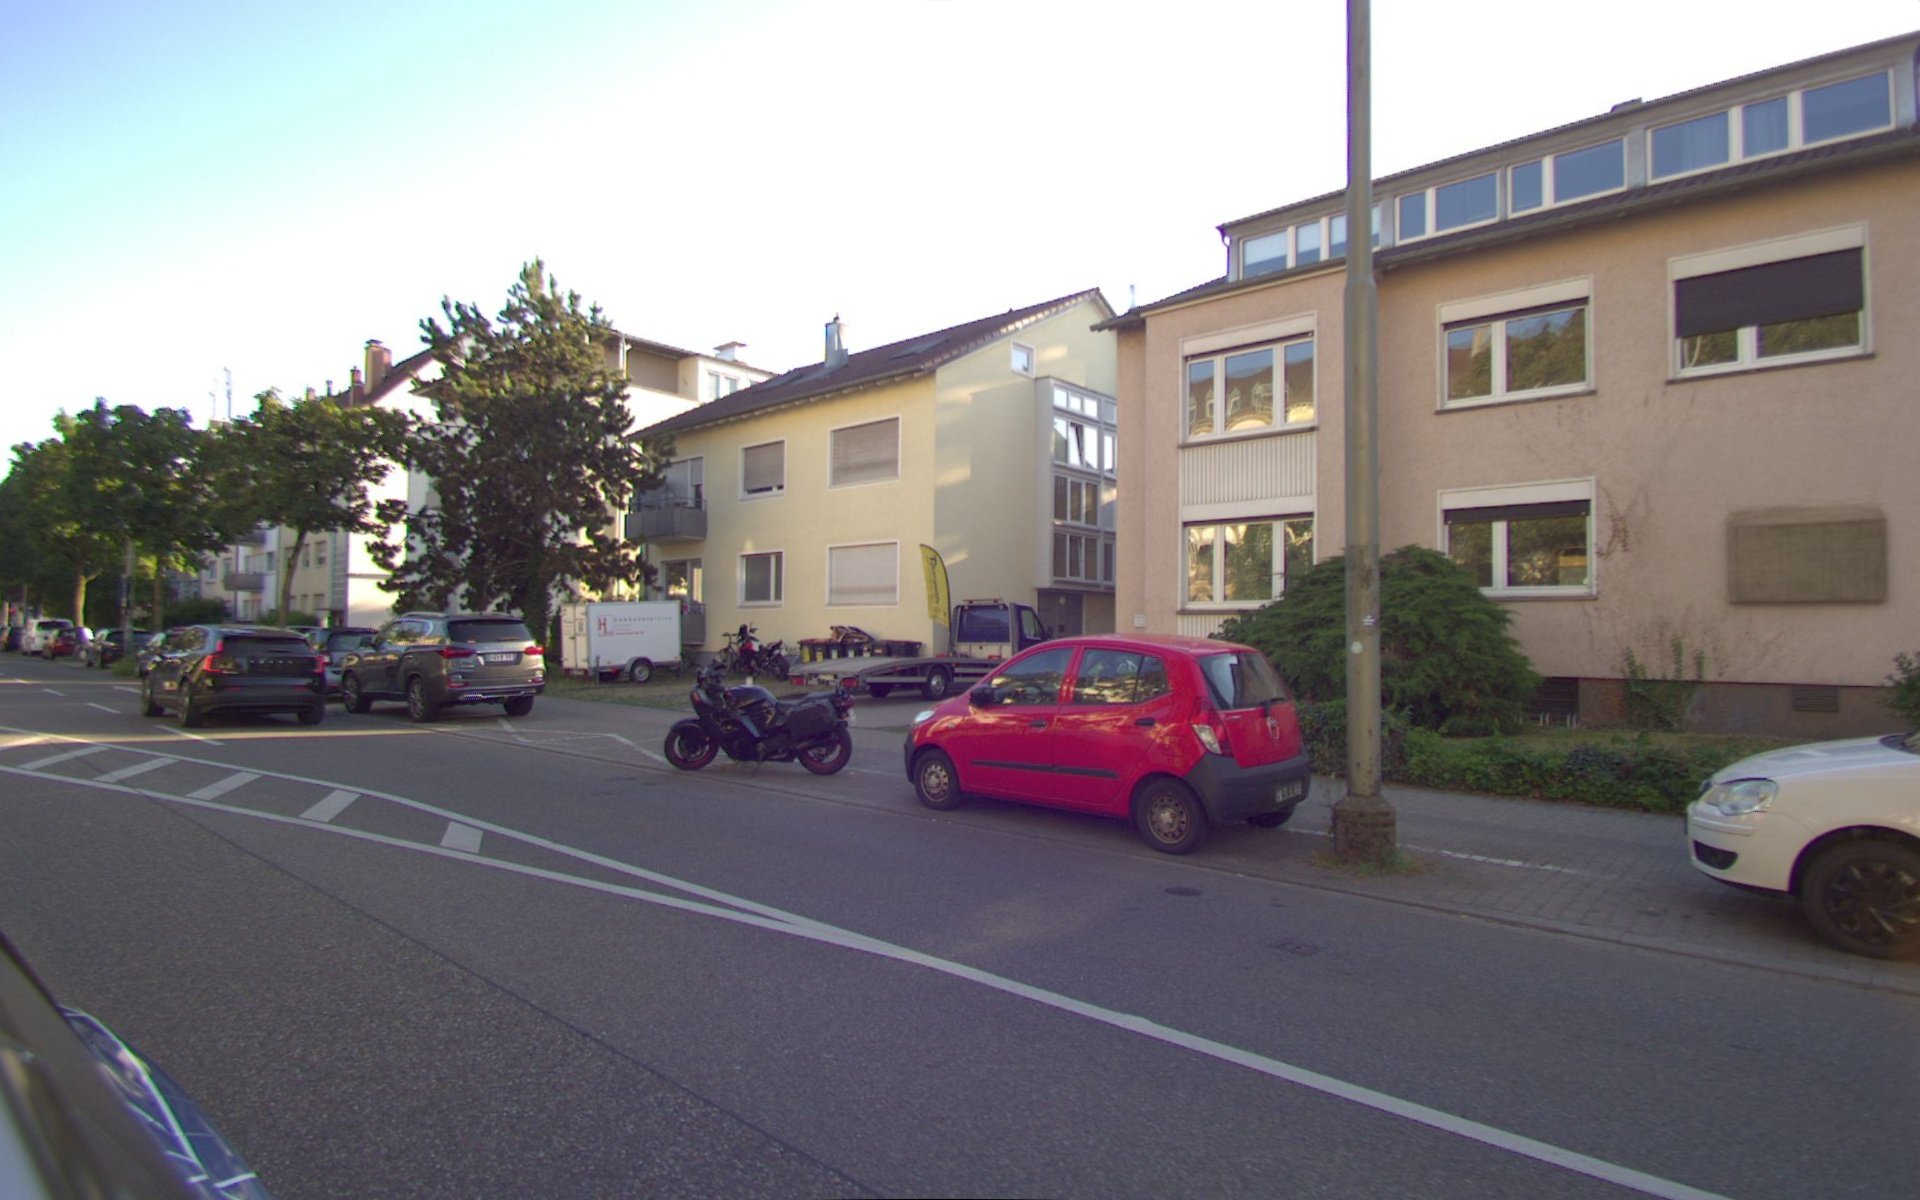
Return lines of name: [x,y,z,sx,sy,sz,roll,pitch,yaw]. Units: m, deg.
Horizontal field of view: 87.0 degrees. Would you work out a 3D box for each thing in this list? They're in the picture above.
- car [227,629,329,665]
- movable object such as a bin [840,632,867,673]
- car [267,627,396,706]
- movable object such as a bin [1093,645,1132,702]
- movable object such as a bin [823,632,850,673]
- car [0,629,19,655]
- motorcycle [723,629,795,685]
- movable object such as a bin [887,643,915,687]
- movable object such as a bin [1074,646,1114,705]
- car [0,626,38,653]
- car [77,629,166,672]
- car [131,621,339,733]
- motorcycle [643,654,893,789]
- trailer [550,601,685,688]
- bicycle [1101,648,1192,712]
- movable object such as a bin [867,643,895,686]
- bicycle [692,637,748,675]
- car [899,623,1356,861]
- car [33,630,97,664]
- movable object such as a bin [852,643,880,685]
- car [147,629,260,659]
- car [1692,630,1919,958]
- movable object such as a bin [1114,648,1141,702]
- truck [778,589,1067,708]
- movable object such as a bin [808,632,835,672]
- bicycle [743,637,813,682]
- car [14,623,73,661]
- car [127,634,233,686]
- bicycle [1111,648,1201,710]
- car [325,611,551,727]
car: [-30.048,2.051,44.643,1.686,1.535,3.421,-2,-3,42]
movable object such as a bin: [-2.671,1.316,25.406,0.450,1.026,0.497,-2,-3,41]
car: [-13.484,1.379,21.688,2.747,1.567,1.557,-1,-3,40]
movable object such as a bin: [3.013,1.443,19.975,0.586,1.099,0.483,-2,-3,42]
movable object such as a bin: [-3.122,1.326,25.690,0.450,1.026,0.497,-2,-3,41]
car: [-57.280,2.489,60.391,3.682,1.475,1.388,-1,-1,43]
motorcycle: [-5.244,1.462,26.346,2.257,1.384,0.564,-1,-3,41]
movable object such as a bin: [-1.417,1.557,24.220,0.450,1.026,0.497,-2,-3,41]
movable object such as a bin: [2.584,1.438,19.502,0.586,1.099,0.483,-2,-3,42]
car: [-53.675,2.236,57.657,3.682,1.416,1.388,-1,-1,43]
car: [-30.979,1.841,37.357,3.997,1.497,1.838,-2,-3,41]
car: [-11.840,1.191,16.443,3.998,1.582,1.816,-1,-4,41]
motorcycle: [-2.024,1.237,10.827,2.350,1.276,1.176,0,-3,18]
trailer: [-8.470,1.093,25.121,1.551,2.029,2.745,-1,-3,39]
bicycle: [3.392,1.446,18.519,1.710,1.094,0.329,-1,-3,41]
movable object such as a bin: [-1.928,1.569,24.619,0.450,1.026,0.497,-2,-3,41]
bicycle: [-7.036,1.633,29.635,2.045,1.072,0.513,-1,-3,41]
car: [1.238,0.977,8.336,3.437,1.535,1.575,-2,-3,44]
car: [-40.521,2.091,45.800,3.635,1.475,1.717,-1,-3,41]
movable object such as a bin: [-2.320,1.573,24.908,0.450,1.026,0.497,-2,-3,41]
car: [-40.327,2.294,54.058,1.735,1.416,4.515,-1,-1,31]
car: [5.845,0.916,4.664,3.888,1.535,1.576,-1,-3,40]
movable object such as a bin: [3.277,1.460,19.769,0.349,1.046,0.430,-2,-3,41]
truck: [-0.550,1.032,22.142,2.275,2.202,6.822,-1,-3,41]
movable object such as a bin: [-3.558,1.336,26.017,0.450,1.026,0.497,-2,-3,41]
bicycle: [-4.927,1.595,27.330,2.257,1.149,0.564,-1,-3,41]
car: [-45.694,2.054,50.433,4.190,1.823,1.717,-1,-3,42]
car: [-23.089,1.726,29.884,4.442,1.418,1.619,-1,-3,41]
bicycle: [3.624,1.449,18.834,1.710,1.094,0.329,-1,-3,41]
car: [-9.338,1.140,17.938,4.723,1.793,1.868,-1,-3,40]
